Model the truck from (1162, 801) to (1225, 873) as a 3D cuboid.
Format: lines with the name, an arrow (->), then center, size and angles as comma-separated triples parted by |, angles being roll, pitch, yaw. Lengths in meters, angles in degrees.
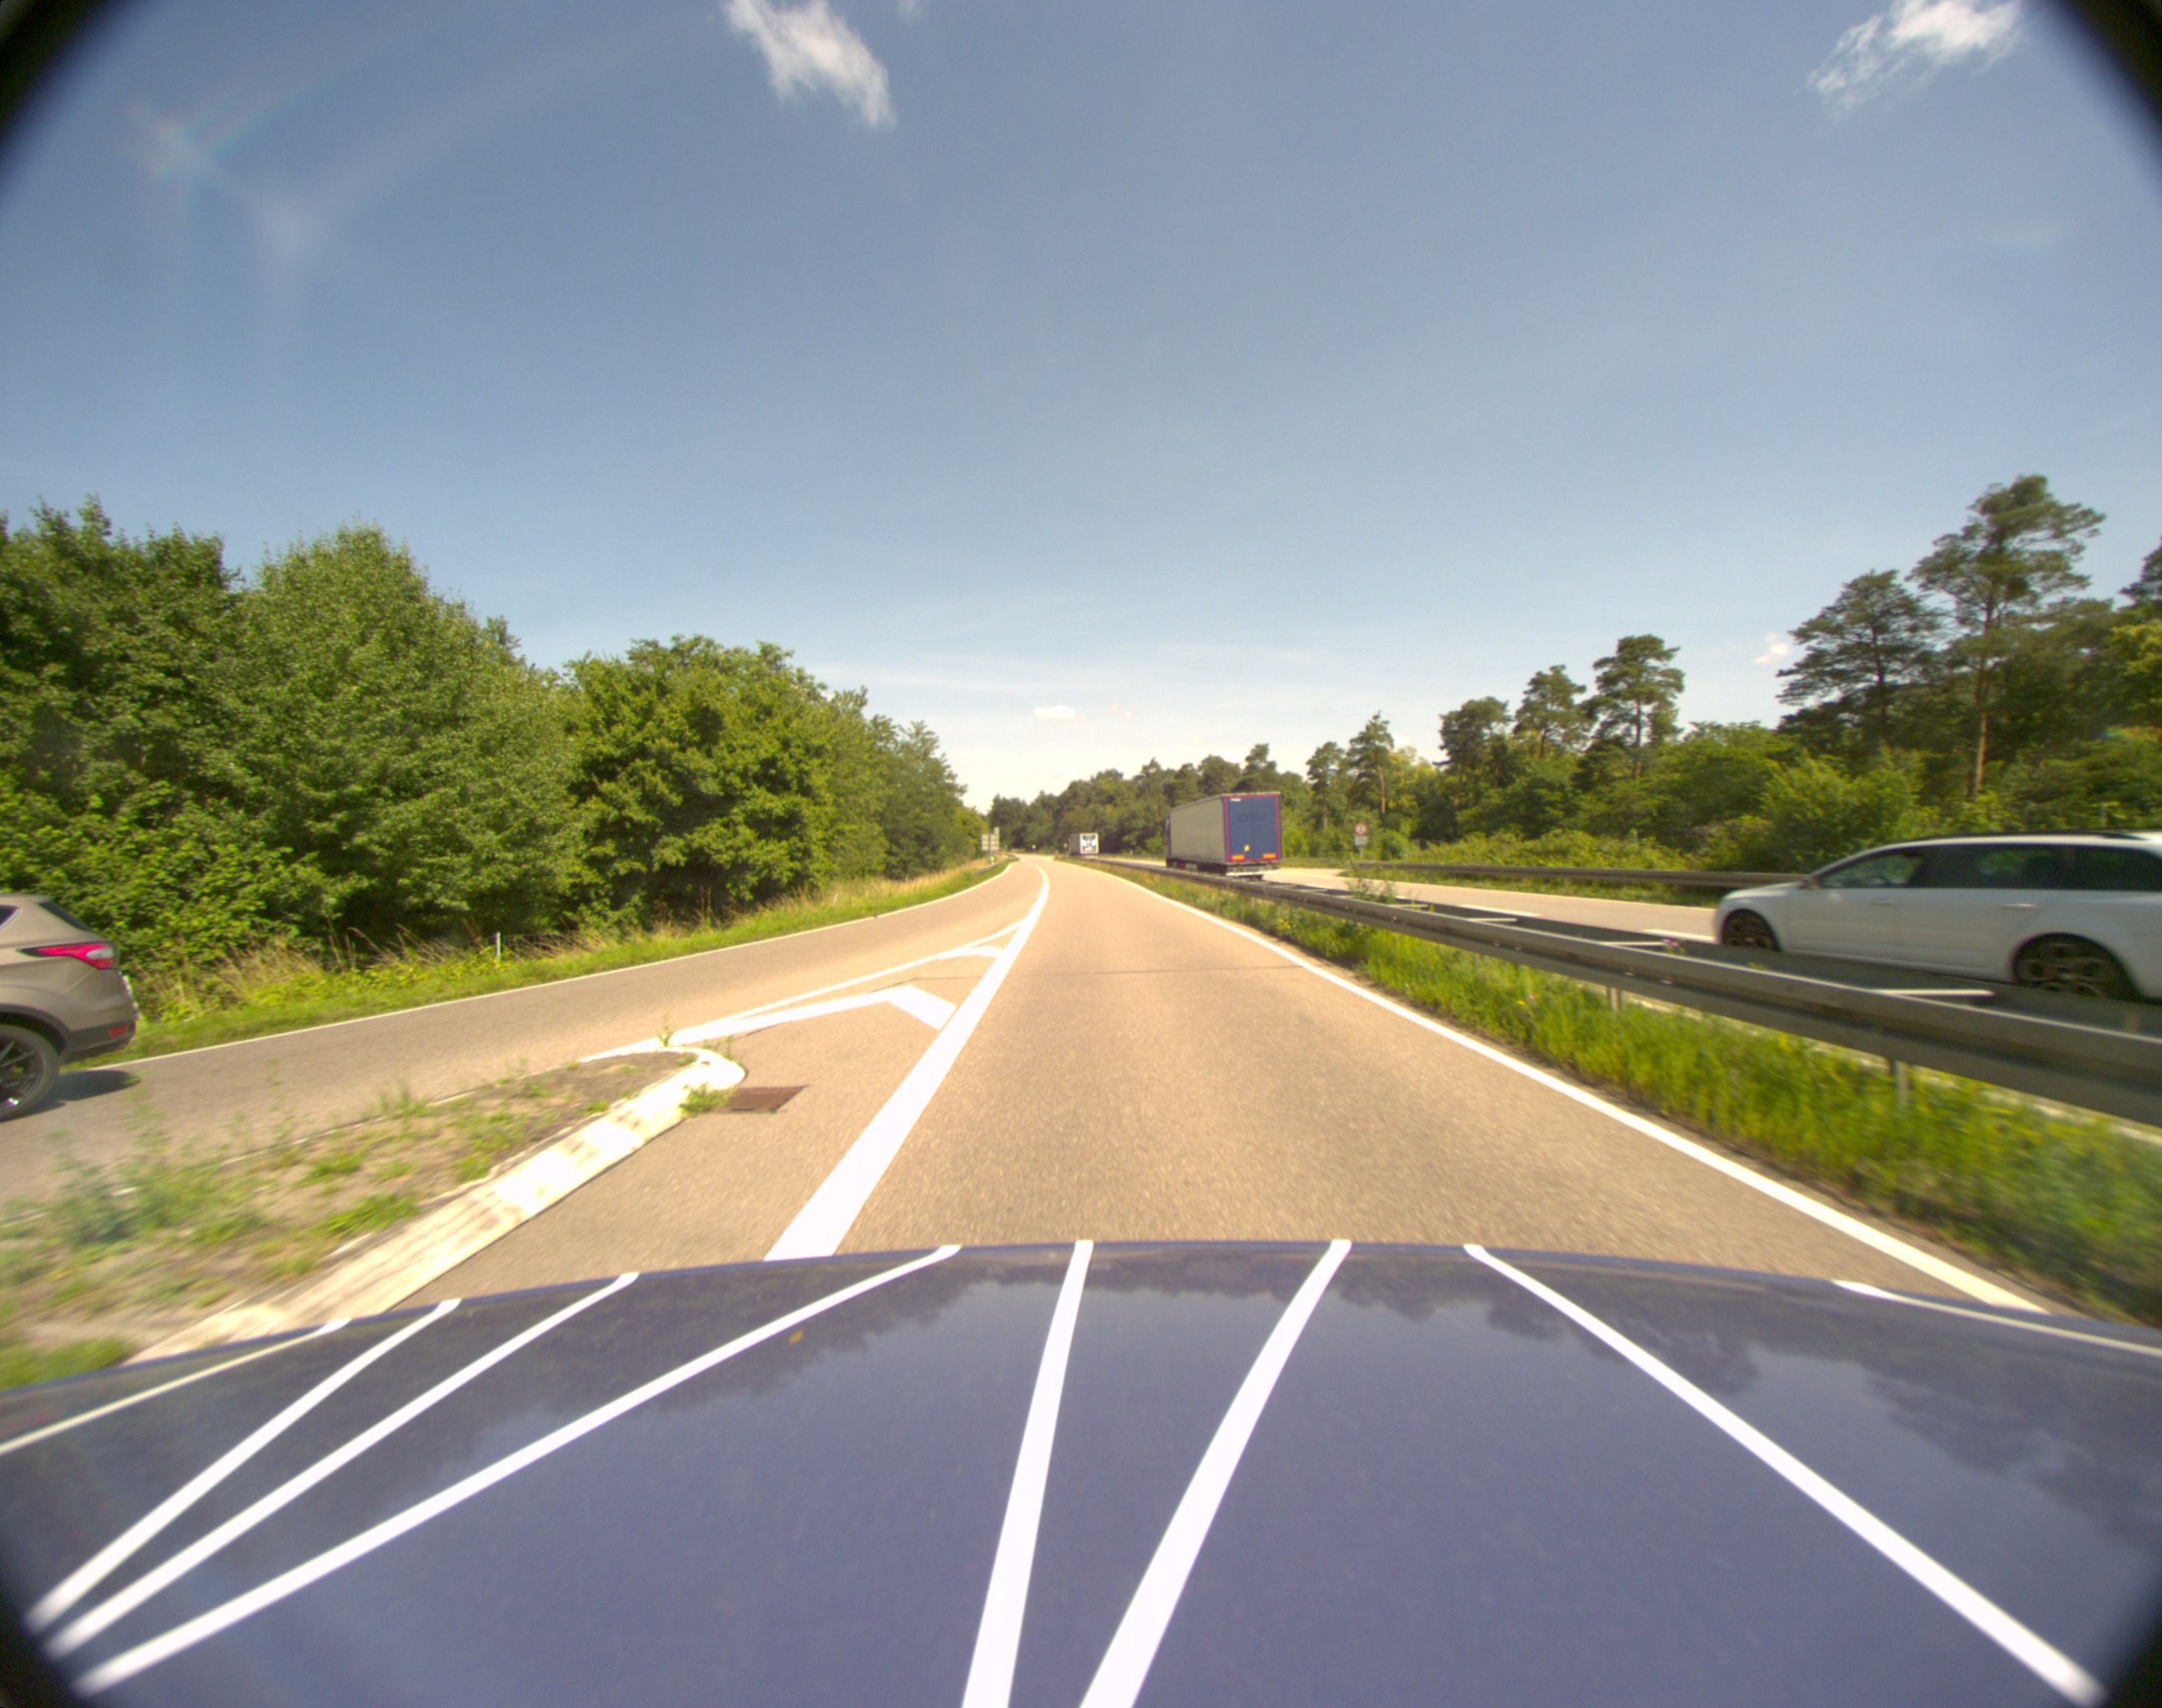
truck -> 6.930, -1.040, 47.506 | 2.775, 4.163, 5.595 | -2, 1, -3

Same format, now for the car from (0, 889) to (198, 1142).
car -> -8.669, 1.205, 4.082 | 1.897, 1.656, 4.671 | -3, 0, 17

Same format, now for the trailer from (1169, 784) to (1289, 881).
trailer -> 7.292, -0.988, 40.295 | 2.753, 4.148, 14.577 | -2, 1, -3

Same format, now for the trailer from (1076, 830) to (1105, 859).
trailer -> 1.325, -1.403, 115.821 | 2.676, 4.164, 14.054 | -2, 1, -6

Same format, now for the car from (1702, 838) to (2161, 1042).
car -> 8.562, 0.602, 6.955 | 1.799, 1.436, 4.604 | -2, 0, -3
